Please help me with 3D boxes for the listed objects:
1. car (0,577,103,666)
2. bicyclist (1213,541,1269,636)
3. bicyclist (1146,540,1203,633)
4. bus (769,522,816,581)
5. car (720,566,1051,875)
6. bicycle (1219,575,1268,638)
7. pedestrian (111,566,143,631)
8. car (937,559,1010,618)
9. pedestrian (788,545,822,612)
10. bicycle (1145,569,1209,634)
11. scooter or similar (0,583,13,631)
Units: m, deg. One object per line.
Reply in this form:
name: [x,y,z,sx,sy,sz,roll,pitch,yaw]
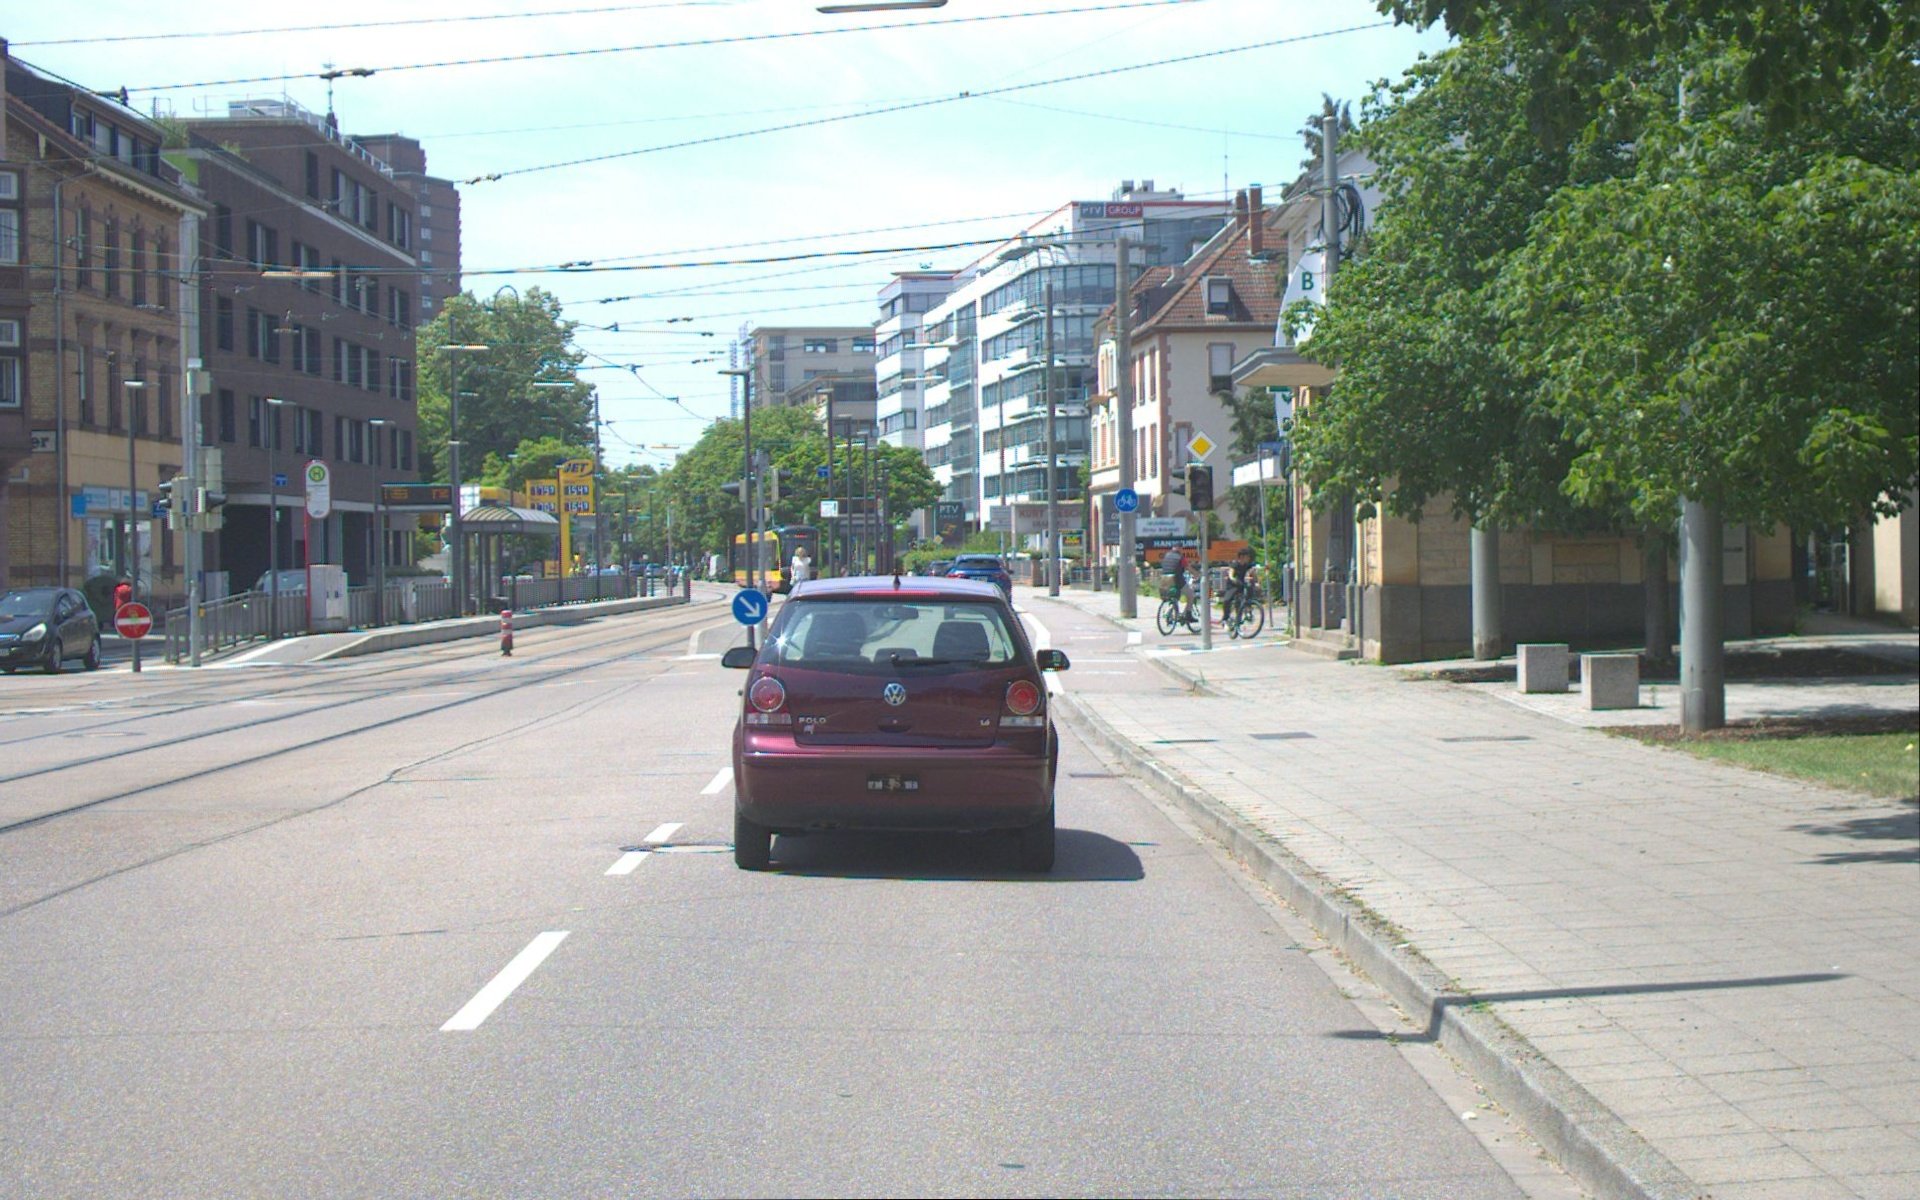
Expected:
car: [-16.179,0.356,59.293,1.709,1.434,3.865,-1,1,1]
bicyclist: [5.051,-0.211,61.754,0.832,1.612,0.860,-4,3,1]
bicyclist: [4.101,-0.259,65.723,0.728,1.754,0.922,0,1,31]
bus: [-8.640,-2.511,178.289,2.145,2.993,6.574,-1,1,-1]
car: [-0.367,0.562,17.999,1.561,1.448,3.062,-1,1,0]
bicycle: [5.072,0.109,61.631,0.668,0.999,1.864,-4,3,1]
pedestrian: [-20.501,-0.040,84.612,0.614,1.555,0.640,-1,1,0]
car: [0.410,-0.354,98.352,1.993,1.619,4.632,-1,1,1]
pedestrian: [-3.927,-0.546,87.018,0.763,1.669,1.100,-1,0,1]
bicycle: [4.154,0.026,65.773,0.376,1.193,1.902,-1,1,31]
scooter or similar: [-22.350,0.174,78.766,0.488,1.078,1.576,-1,1,17]
